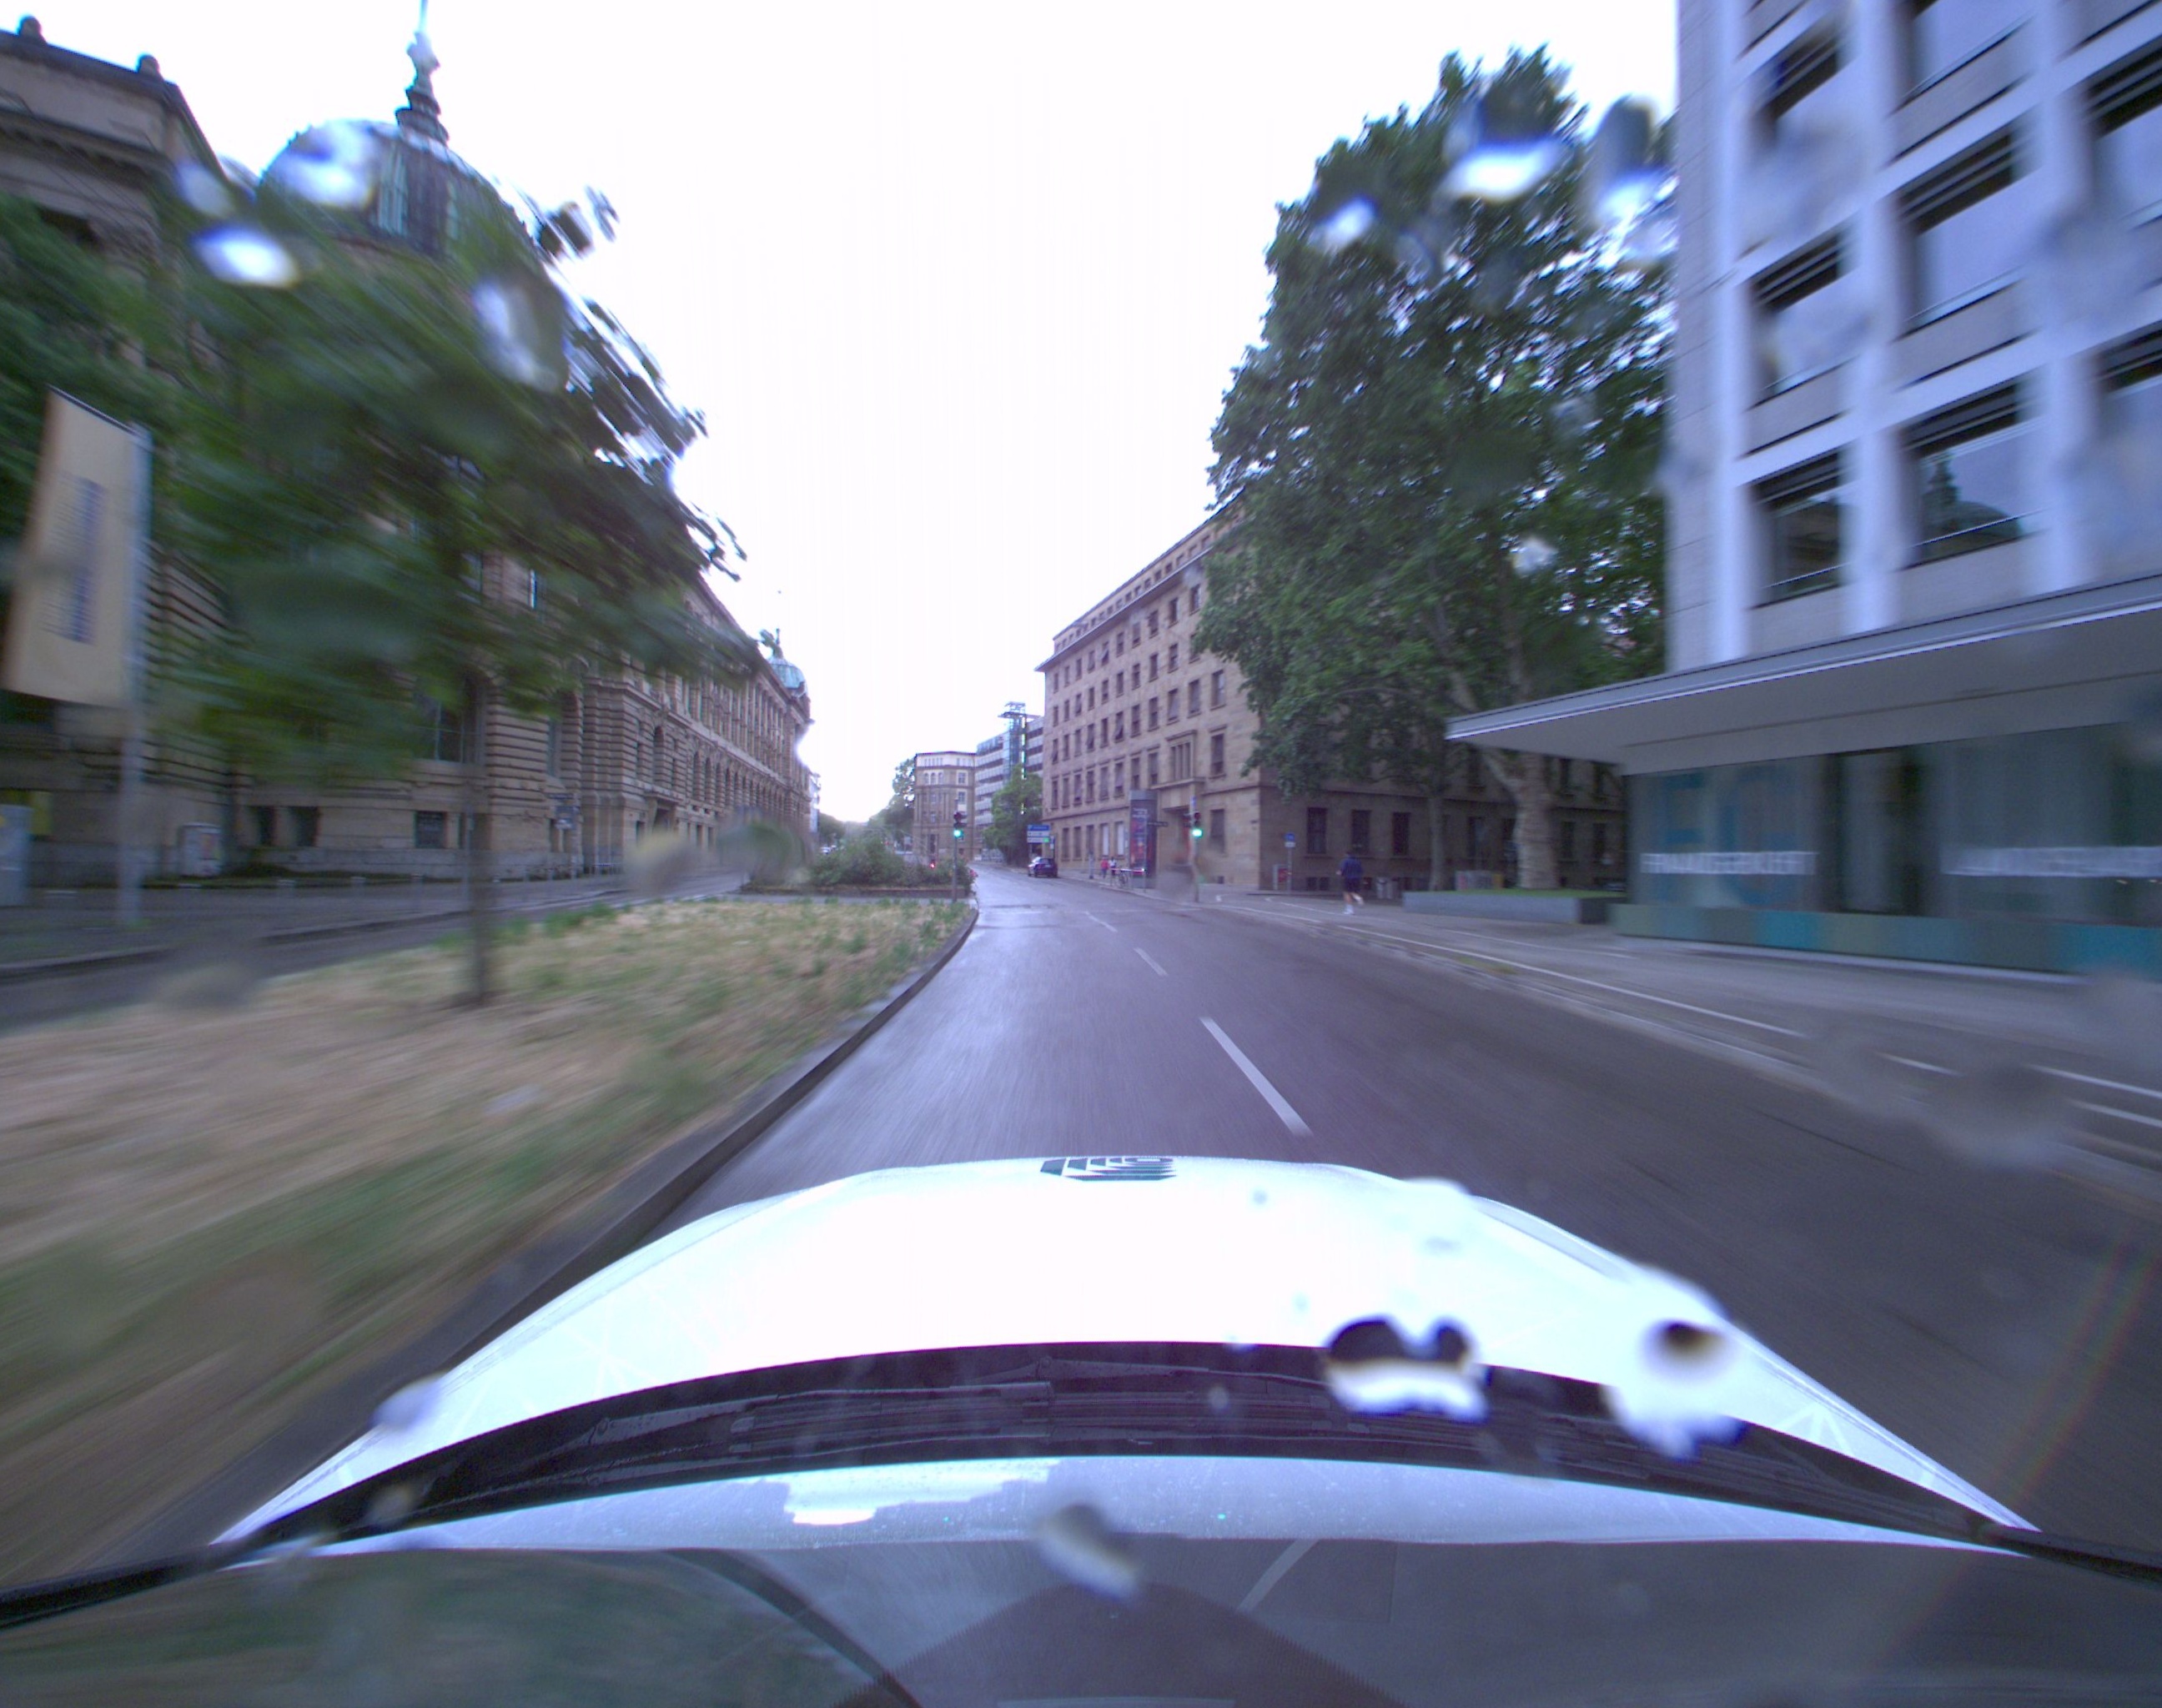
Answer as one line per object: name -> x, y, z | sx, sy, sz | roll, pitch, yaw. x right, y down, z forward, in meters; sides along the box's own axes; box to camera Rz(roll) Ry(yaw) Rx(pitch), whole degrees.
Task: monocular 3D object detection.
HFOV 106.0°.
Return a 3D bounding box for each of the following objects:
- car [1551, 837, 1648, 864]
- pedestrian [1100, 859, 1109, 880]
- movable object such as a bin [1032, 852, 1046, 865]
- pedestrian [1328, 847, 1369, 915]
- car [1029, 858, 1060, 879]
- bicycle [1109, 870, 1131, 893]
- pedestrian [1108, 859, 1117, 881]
car -> 30.404, -0.228, 47.874 | 1.893, 1.463, 4.503 | -2, 2, -27
pedestrian -> 1.712, 1.099, 58.710 | 0.524, 1.492, 0.672 | 1, -1, -9
movable object such as a bin -> -4.355, 0.452, 83.667 | 1.240, 1.310, 1.229 | -1, 0, -11
pedestrian -> 7.067, 0.696, 21.552 | 0.777, 1.772, 0.862 | 1, 0, -3
car -> -2.963, 1.128, 65.373 | 1.770, 1.619, 4.138 | 1, -1, -14
bicycle -> 1.831, 1.281, 38.057 | 0.489, 1.012, 1.919 | 1, 0, -14
pedestrian -> 2.304, 1.151, 59.048 | 0.524, 1.603, 0.672 | 1, -1, -9
